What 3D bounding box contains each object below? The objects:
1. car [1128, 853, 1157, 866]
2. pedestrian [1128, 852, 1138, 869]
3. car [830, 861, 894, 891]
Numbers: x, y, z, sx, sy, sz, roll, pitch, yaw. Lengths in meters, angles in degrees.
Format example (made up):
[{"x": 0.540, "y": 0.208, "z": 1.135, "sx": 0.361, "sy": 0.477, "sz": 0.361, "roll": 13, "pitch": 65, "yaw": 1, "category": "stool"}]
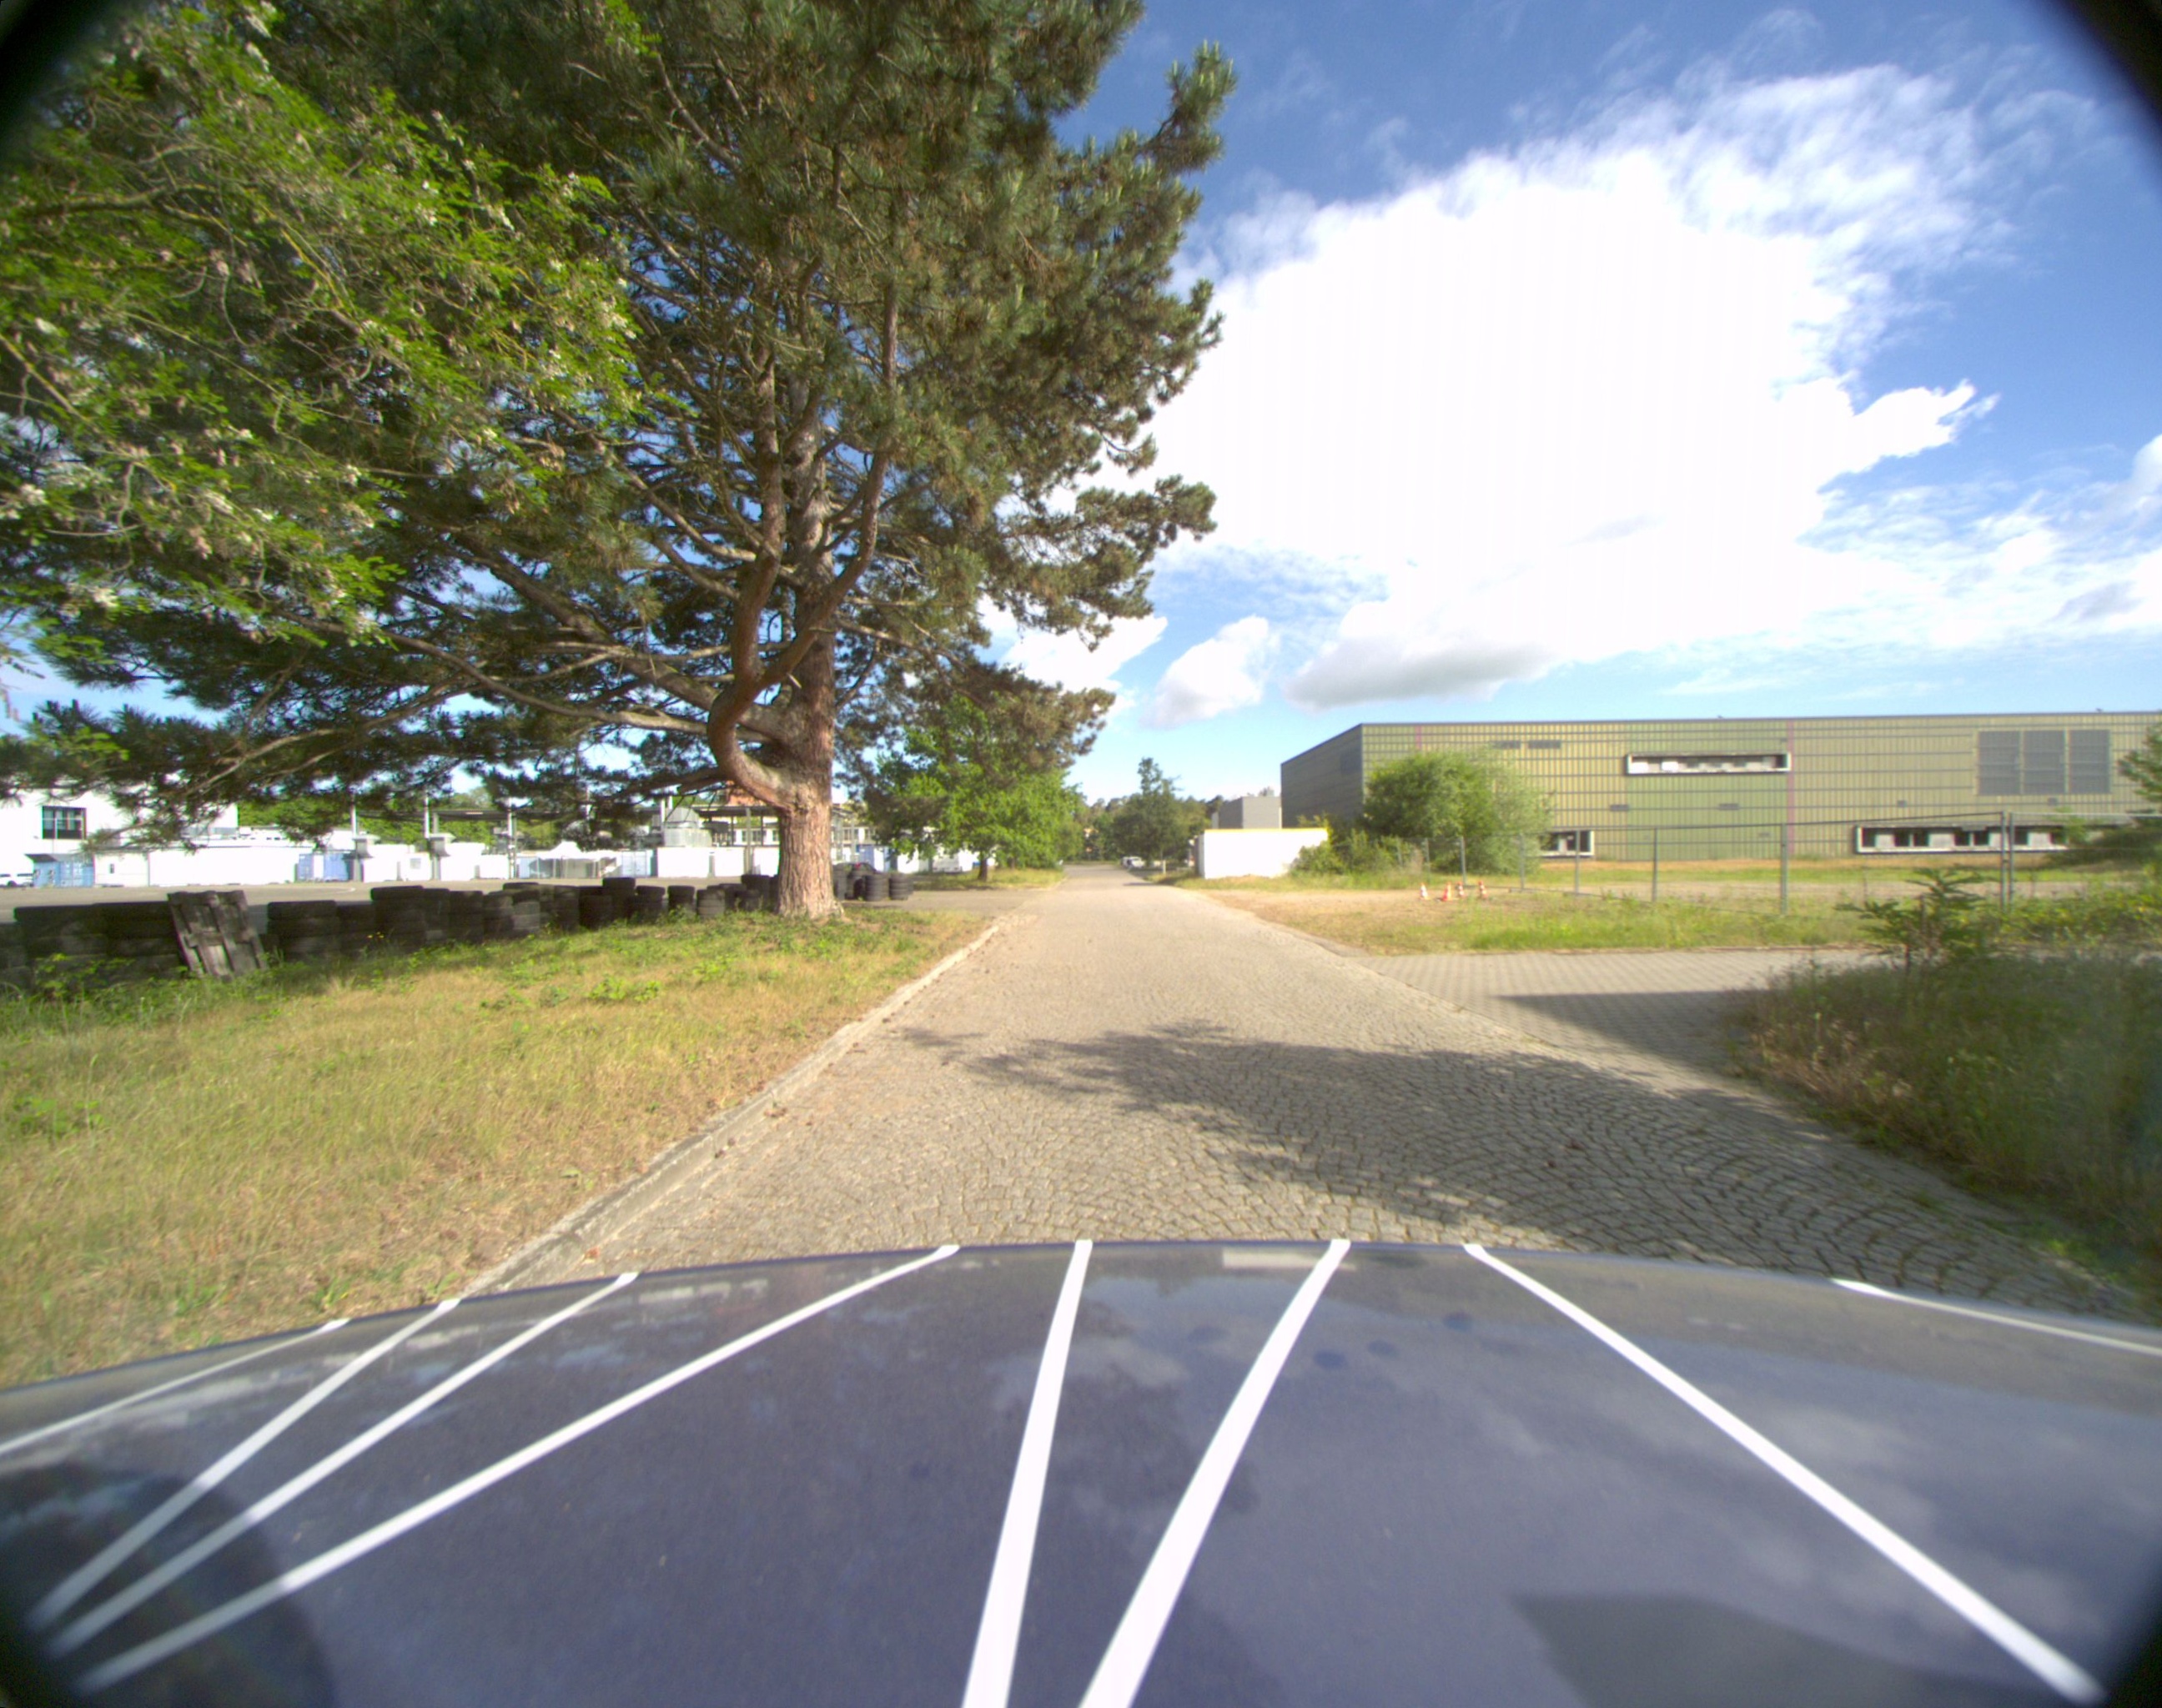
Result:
[{"x": 8.462, "y": 0.746, "z": 105.128, "sx": 3.996, "sy": 1.678, "sz": 2.001, "roll": -1, "pitch": 0, "yaw": 4, "category": "car"}, {"x": 5.554, "y": 0.701, "z": 81.908, "sx": 0.908, "sy": 1.796, "sz": 0.983, "roll": -1, "pitch": 1, "yaw": -6, "category": "pedestrian"}, {"x": -11.539, "y": 1.147, "z": 40.319, "sx": 1.846, "sy": 1.440, "sz": 4.002, "roll": -1, "pitch": 0, "yaw": 7, "category": "car"}]
